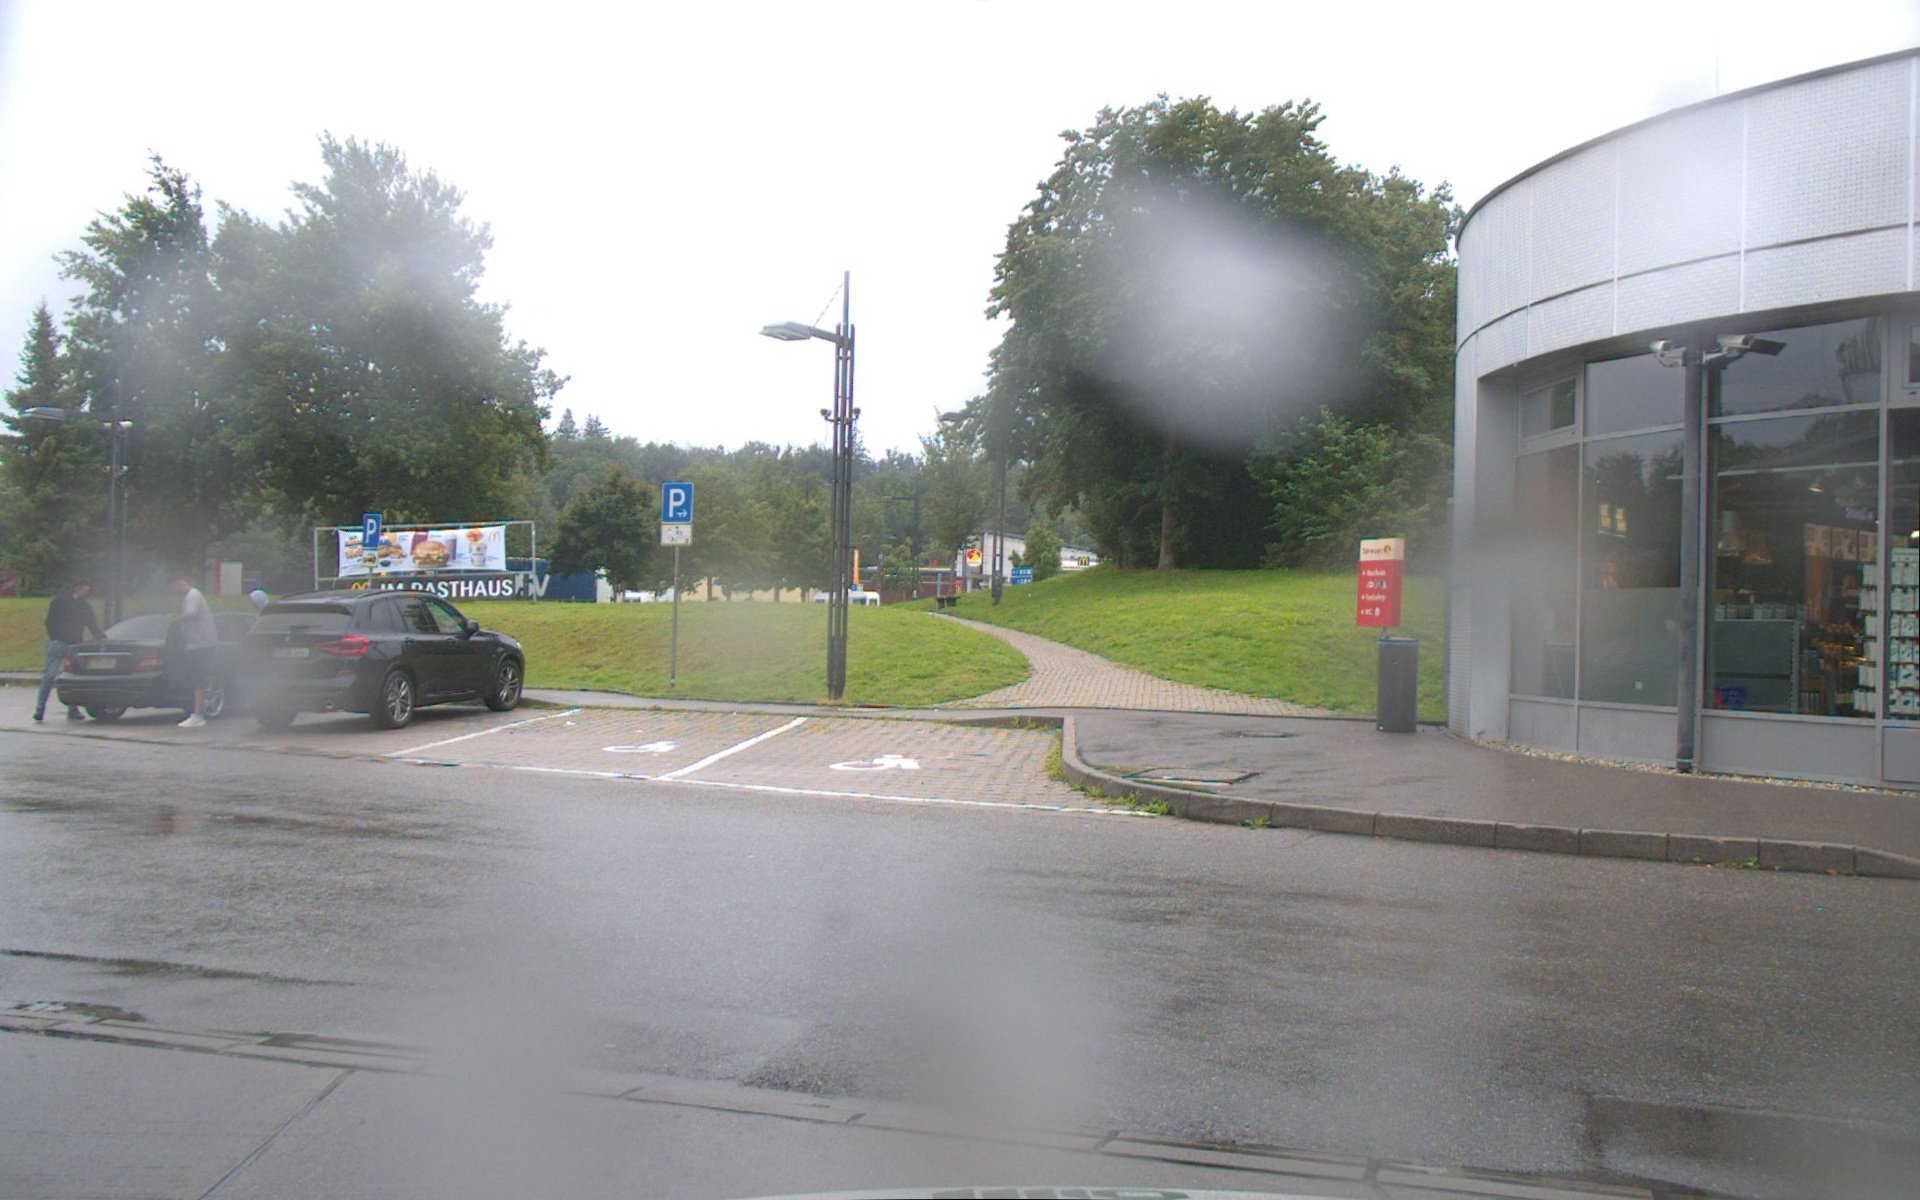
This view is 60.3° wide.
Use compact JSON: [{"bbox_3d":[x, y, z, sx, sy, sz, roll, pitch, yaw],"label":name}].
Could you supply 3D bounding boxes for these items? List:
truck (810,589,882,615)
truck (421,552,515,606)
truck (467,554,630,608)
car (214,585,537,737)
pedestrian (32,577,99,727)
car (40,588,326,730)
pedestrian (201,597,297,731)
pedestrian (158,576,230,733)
[{"bbox_3d":[-9.230,0.151,133.672,5.298,2.049,2.366,1,0,24],"label":"truck"},{"bbox_3d":[-27.977,-1.163,94.260,2.142,2.971,5.384,1,0,24],"label":"truck"},{"bbox_3d":[-24.927,-1.079,101.275,2.142,2.971,13.092,1,0,23],"label":"truck"},{"bbox_3d":[-7.362,0.696,21.377,1.973,1.741,4.347,-1,1,11],"label":"car"},{"bbox_3d":[-11.764,0.675,21.775,0.693,1.920,0.886,1,-1,-25],"label":"pedestrian"},{"bbox_3d":[-10.570,0.722,22.895,1.976,1.741,4.342,-1,1,-2],"label":"car"},{"bbox_3d":[-9.082,0.795,21.158,0.687,1.660,0.955,1,-1,11],"label":"pedestrian"},{"bbox_3d":[-9.596,0.669,20.748,0.691,1.920,0.949,1,-1,-19],"label":"pedestrian"}]
